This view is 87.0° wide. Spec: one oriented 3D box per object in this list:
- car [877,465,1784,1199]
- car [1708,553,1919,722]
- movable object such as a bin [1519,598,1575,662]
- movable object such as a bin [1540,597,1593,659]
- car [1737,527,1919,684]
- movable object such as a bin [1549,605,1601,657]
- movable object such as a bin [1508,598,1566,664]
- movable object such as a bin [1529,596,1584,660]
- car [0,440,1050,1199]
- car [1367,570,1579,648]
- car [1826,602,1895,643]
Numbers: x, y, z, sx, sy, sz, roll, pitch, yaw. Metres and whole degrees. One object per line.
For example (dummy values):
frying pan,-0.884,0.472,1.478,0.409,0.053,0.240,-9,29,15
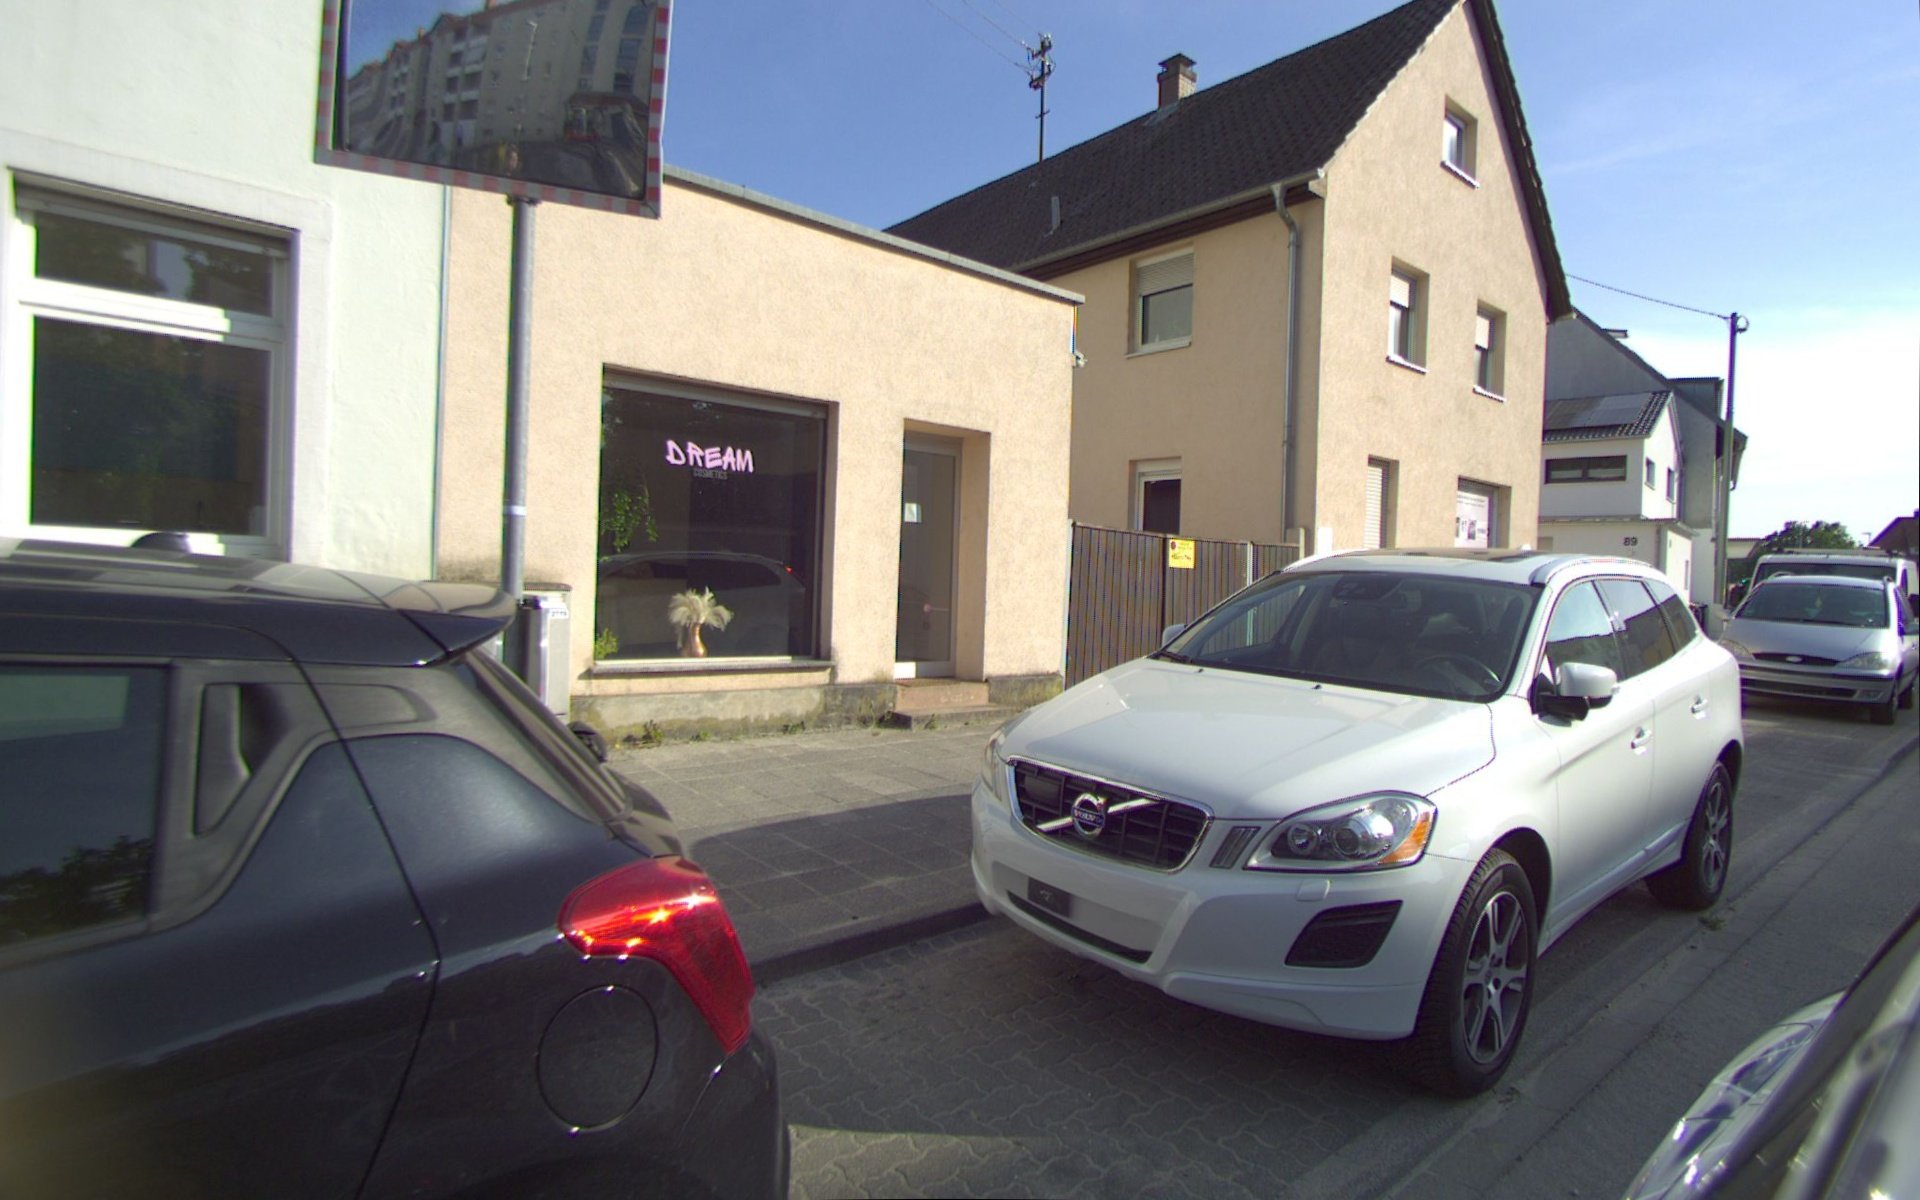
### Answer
car,1.958,0.505,4.421,4.399,1.704,1.816,0,3,-42
car,11.382,0.393,13.172,4.407,1.762,1.781,0,4,-43
movable object such as a bin,10.575,0.530,18.228,0.544,1.107,0.729,1,1,-43
movable object such as a bin,11.454,0.516,19.113,0.544,1.107,0.729,1,1,-43
car,15.473,0.047,17.713,4.914,2.356,2.177,1,2,-44
movable object such as a bin,11.856,0.585,19.511,0.544,0.971,0.729,1,1,-43
movable object such as a bin,10.147,0.537,17.805,0.615,1.107,0.729,1,1,-43
movable object such as a bin,11.023,0.503,18.701,0.544,1.146,0.729,1,1,-43
car,-2.073,0.589,0.927,4.534,1.547,1.592,0,3,-42
car,10.690,0.181,21.115,3.895,1.424,1.666,2,2,-19
car,34.524,0.816,38.874,1.604,1.438,3.866,3,2,37
